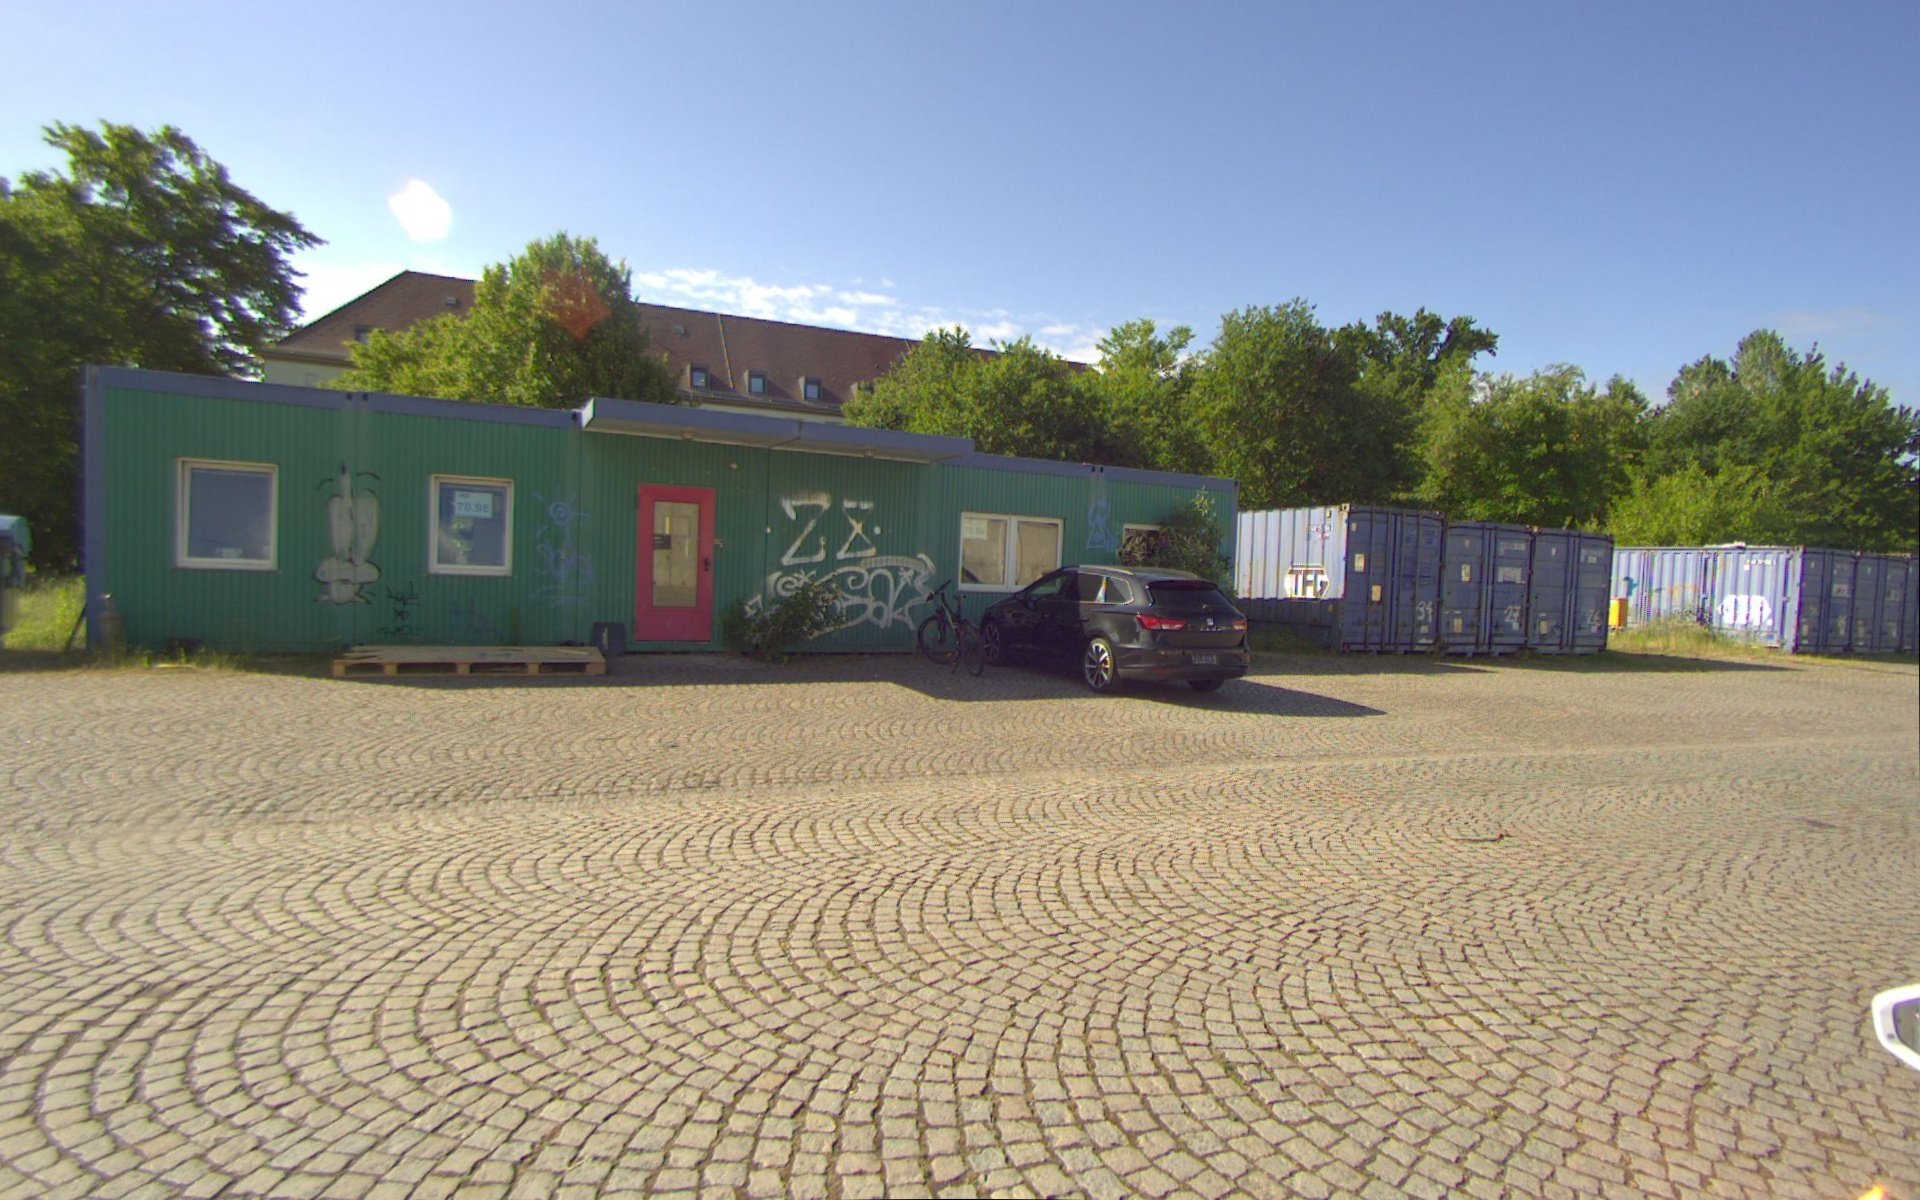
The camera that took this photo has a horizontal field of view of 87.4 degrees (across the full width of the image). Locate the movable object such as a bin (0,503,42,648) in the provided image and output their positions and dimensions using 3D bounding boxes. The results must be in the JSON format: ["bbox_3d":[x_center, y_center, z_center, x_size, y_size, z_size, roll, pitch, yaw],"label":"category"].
[{"bbox_3d":[-10.535,-0.289,10.372,1.426,1.477,0.876,1,4,-34],"label":"movable object such as a bin"}]

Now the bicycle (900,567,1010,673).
[{"bbox_3d":[-0.103,0.226,12.936,0.659,1.186,1.797,2,3,-25],"label":"bicycle"}]

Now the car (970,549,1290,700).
[{"bbox_3d":[1.914,0.193,12.771,1.905,1.469,4.238,2,3,-25],"label":"car"}]
